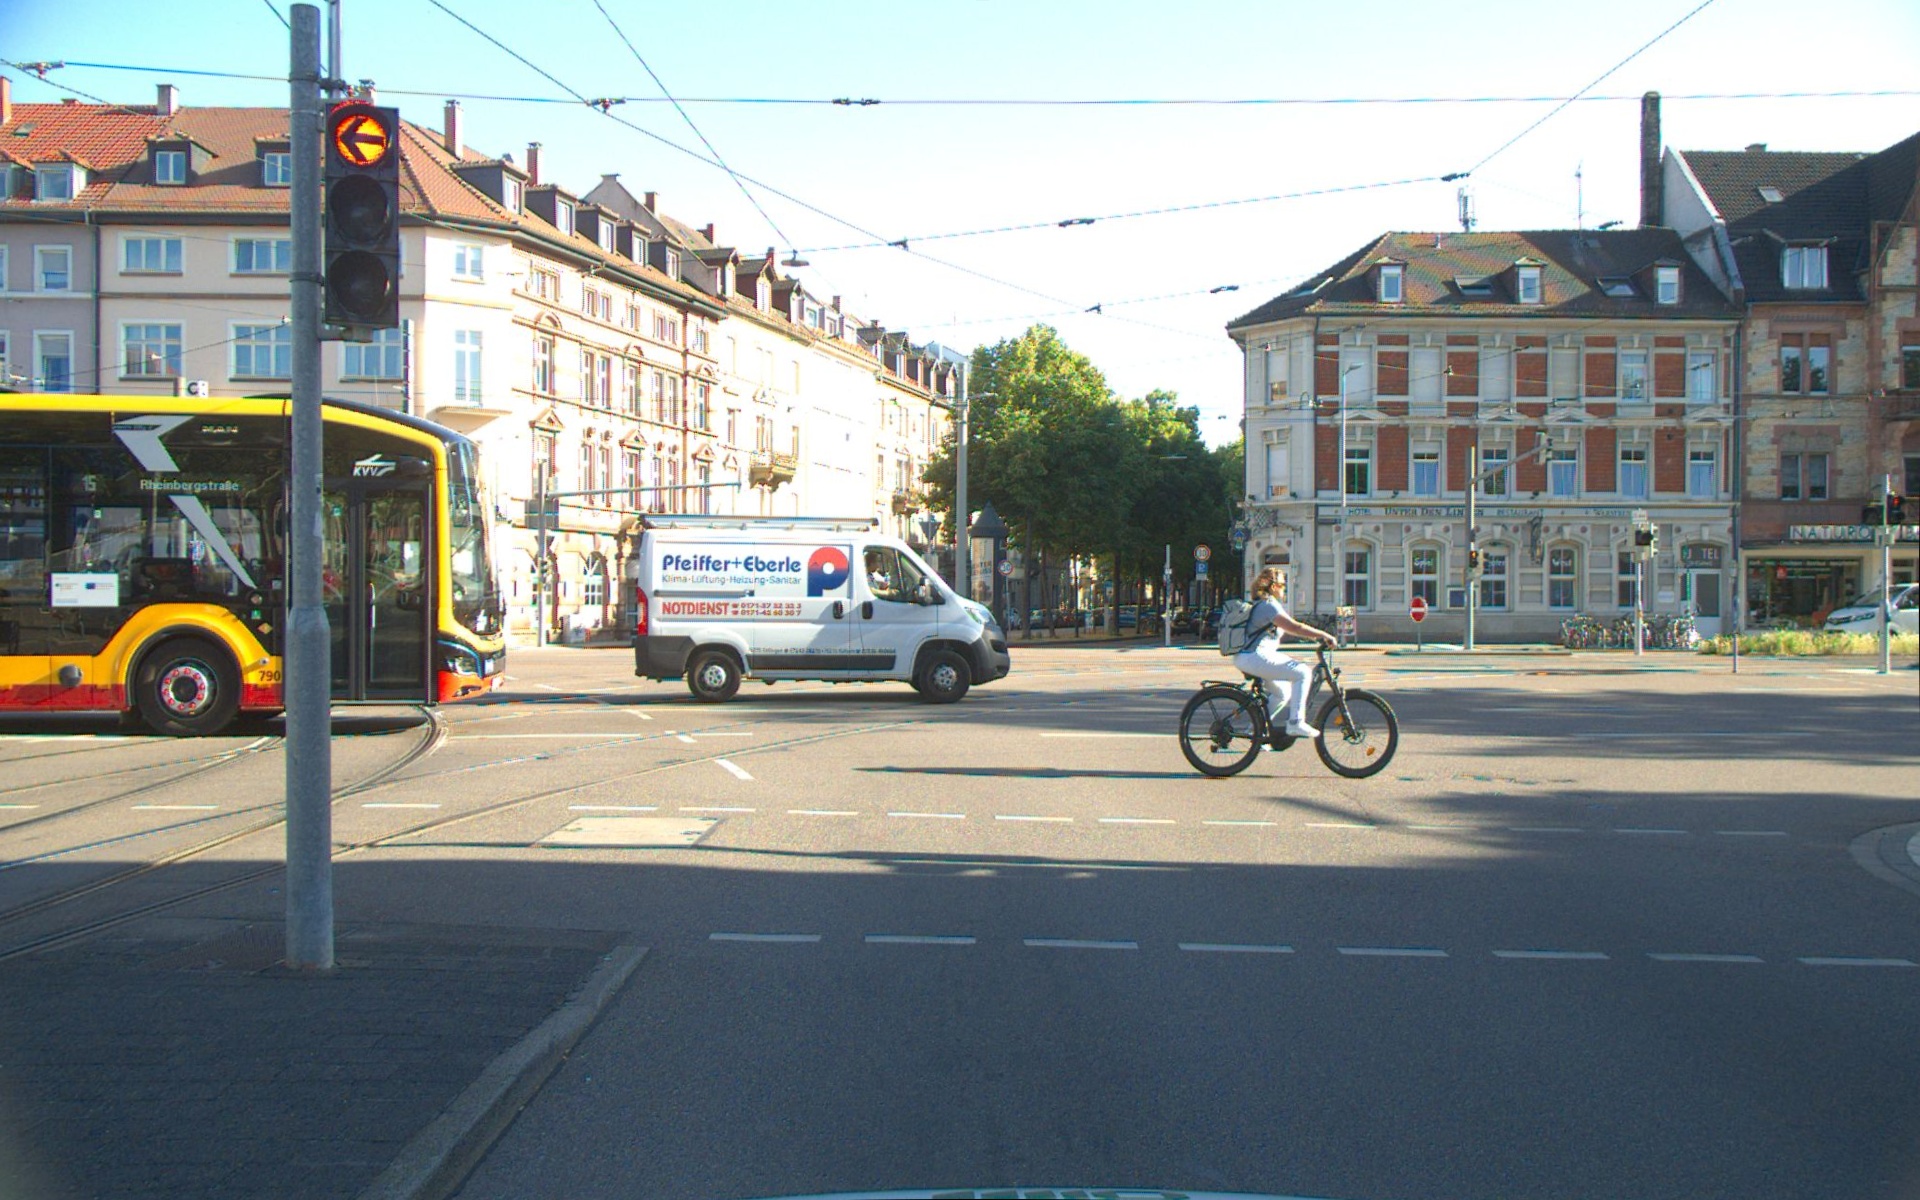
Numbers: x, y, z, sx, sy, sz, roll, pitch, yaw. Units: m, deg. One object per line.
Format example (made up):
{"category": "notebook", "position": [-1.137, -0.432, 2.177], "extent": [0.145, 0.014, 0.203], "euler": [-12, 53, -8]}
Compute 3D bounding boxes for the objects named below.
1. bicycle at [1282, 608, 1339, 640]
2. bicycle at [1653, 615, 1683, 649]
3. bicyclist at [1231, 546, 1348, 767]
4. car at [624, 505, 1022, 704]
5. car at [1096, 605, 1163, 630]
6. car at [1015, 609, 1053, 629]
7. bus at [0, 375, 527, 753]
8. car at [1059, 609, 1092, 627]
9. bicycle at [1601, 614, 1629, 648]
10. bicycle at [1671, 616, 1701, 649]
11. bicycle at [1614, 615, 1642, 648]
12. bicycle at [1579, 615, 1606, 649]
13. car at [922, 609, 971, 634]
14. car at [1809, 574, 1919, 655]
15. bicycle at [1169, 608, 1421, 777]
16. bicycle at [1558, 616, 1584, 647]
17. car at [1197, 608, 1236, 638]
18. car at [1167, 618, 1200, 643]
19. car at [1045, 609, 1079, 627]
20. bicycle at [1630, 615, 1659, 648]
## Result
{"category": "bicycle", "position": [12.180, 0.826, 57.516], "extent": [1.911, 1.072, 0.716], "euler": [0, 0, 9]}
{"category": "bicycle", "position": [22.909, 1.031, 53.563], "extent": [0.476, 1.038, 1.785], "euler": [0, 0, 9]}
{"category": "bicyclist", "position": [2.667, 0.442, 13.447], "extent": [0.782, 1.745, 0.733], "euler": [0, 0, -3]}
{"category": "car", "position": [-1.821, 0.041, 21.961], "extent": [5.015, 2.475, 2.077], "euler": [0, 0, -8]}
{"category": "car", "position": [10.251, 1.031, 99.826], "extent": [3.902, 1.480, 1.683], "euler": [0, 0, 10]}
{"category": "car", "position": [5.475, 1.368, 122.642], "extent": [1.951, 1.429, 4.172], "euler": [0, 0, 15]}
{"category": "bus", "position": [-9.372, -0.383, 16.852], "extent": [9.234, 3.517, 2.775], "euler": [1, 1, -8]}
{"category": "car", "position": [9.570, 1.468, 136.728], "extent": [1.951, 1.429, 4.172], "euler": [0, 0, 15]}
{"category": "bicycle", "position": [21.167, 1.000, 53.487], "extent": [0.476, 1.038, 1.785], "euler": [0, 0, 9]}
{"category": "bicycle", "position": [23.594, 1.044, 53.745], "extent": [0.476, 1.038, 1.785], "euler": [0, 0, 9]}
{"category": "bicycle", "position": [21.616, 1.008, 53.555], "extent": [0.476, 1.038, 1.785], "euler": [0, 0, 9]}
{"category": "bicycle", "position": [20.477, 1.021, 53.578], "extent": [0.476, 1.038, 1.785], "euler": [0, 0, 9]}
{"category": "car", "position": [-0.818, 1.309, 102.057], "extent": [1.951, 1.429, 4.172], "euler": [0, 0, 15]}
{"category": "car", "position": [24.900, 0.354, 42.764], "extent": [4.879, 2.049, 2.000], "euler": [0, 0, -1]}
{"category": "bicycle", "position": [2.703, 0.736, 13.444], "extent": [1.901, 1.321, 0.623], "euler": [1, 0, -3]}
{"category": "bicycle", "position": [19.808, 1.014, 53.655], "extent": [0.476, 0.930, 1.785], "euler": [0, 0, 9]}
{"category": "car", "position": [12.856, 1.137, 82.708], "extent": [1.717, 1.445, 4.003], "euler": [0, 0, 12]}
{"category": "car", "position": [12.942, 1.740, 95.636], "extent": [1.680, 1.323, 4.077], "euler": [0, 0, 11]}
{"category": "car", "position": [8.141, 1.422, 131.510], "extent": [1.951, 1.429, 4.172], "euler": [0, 0, 15]}
{"category": "bicycle", "position": [22.114, 1.017, 53.483], "extent": [0.476, 1.038, 1.785], "euler": [0, 0, 9]}
